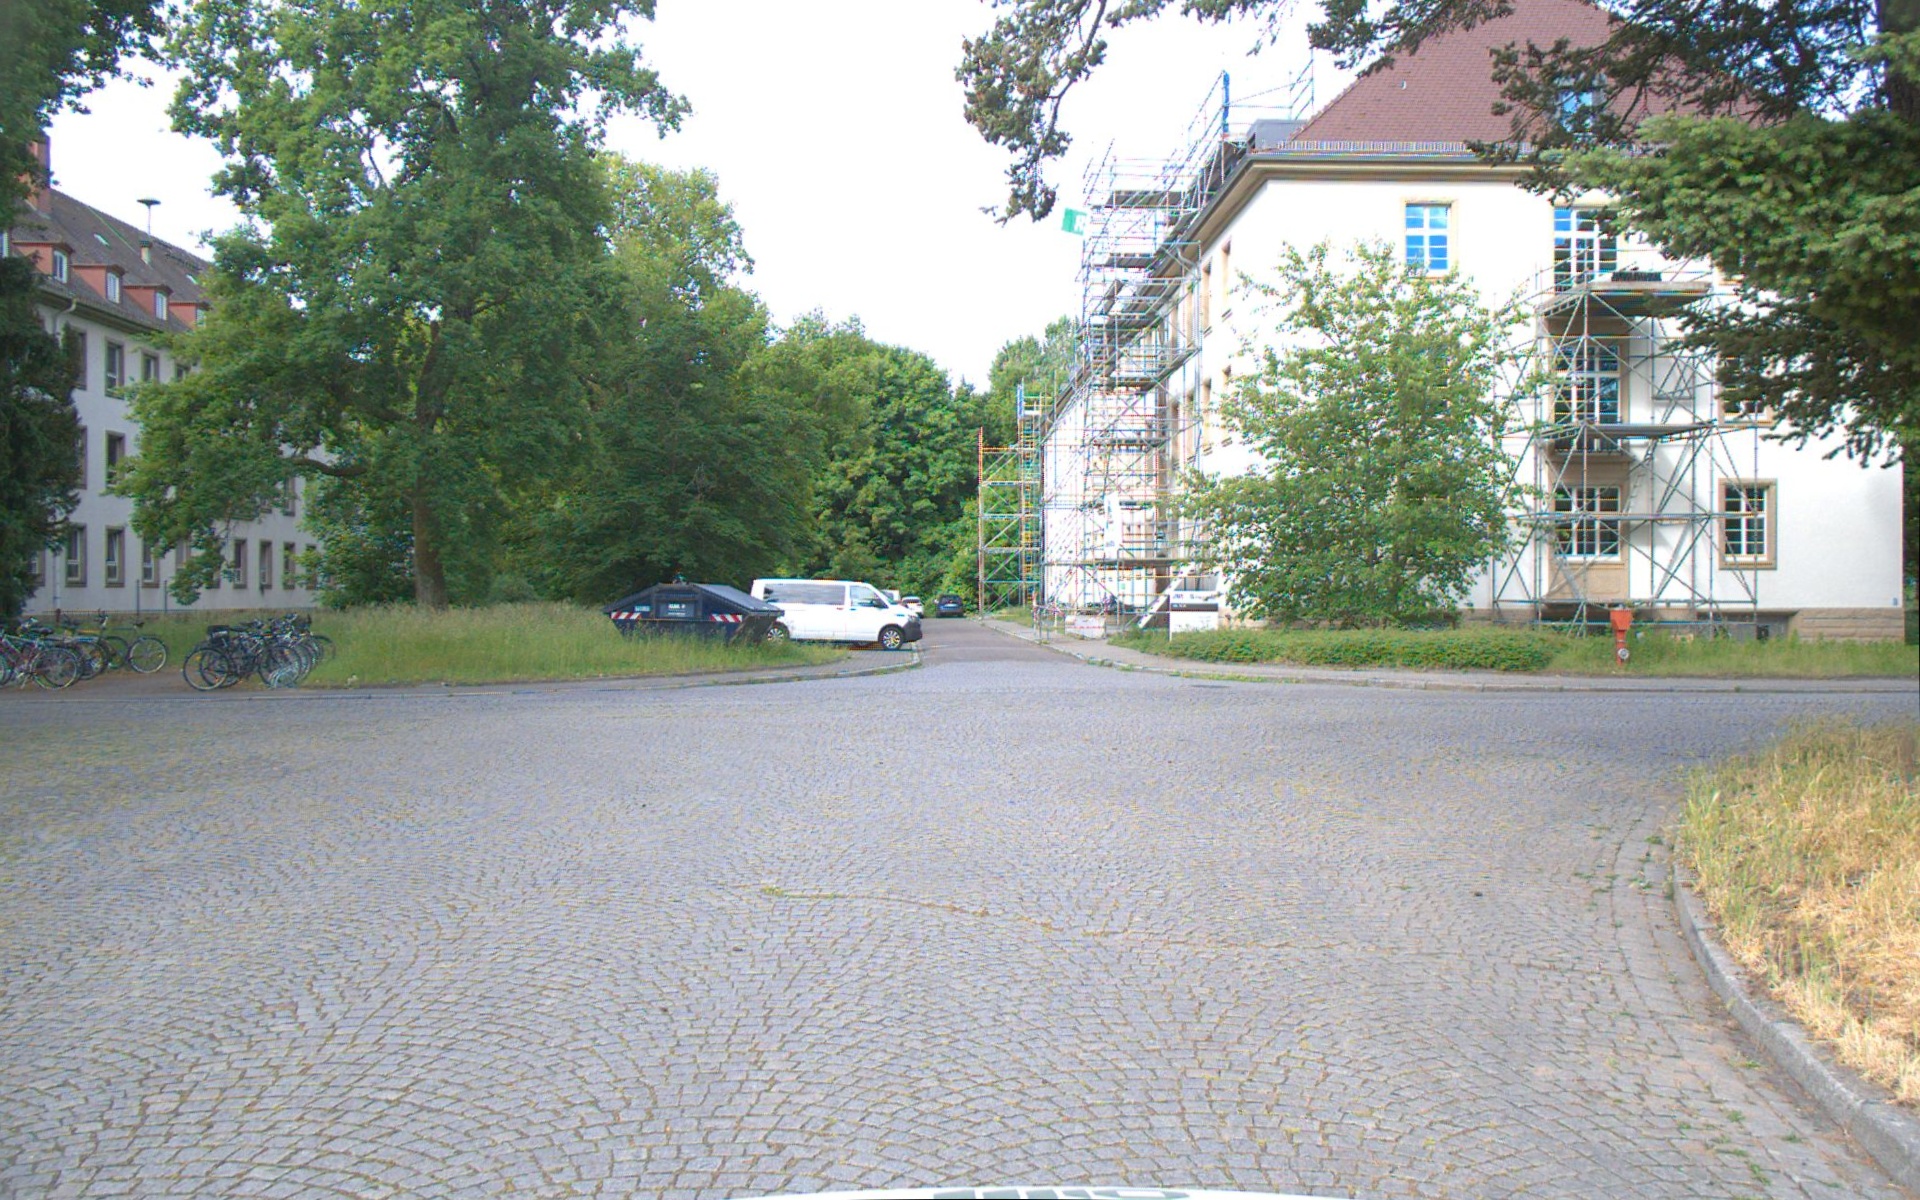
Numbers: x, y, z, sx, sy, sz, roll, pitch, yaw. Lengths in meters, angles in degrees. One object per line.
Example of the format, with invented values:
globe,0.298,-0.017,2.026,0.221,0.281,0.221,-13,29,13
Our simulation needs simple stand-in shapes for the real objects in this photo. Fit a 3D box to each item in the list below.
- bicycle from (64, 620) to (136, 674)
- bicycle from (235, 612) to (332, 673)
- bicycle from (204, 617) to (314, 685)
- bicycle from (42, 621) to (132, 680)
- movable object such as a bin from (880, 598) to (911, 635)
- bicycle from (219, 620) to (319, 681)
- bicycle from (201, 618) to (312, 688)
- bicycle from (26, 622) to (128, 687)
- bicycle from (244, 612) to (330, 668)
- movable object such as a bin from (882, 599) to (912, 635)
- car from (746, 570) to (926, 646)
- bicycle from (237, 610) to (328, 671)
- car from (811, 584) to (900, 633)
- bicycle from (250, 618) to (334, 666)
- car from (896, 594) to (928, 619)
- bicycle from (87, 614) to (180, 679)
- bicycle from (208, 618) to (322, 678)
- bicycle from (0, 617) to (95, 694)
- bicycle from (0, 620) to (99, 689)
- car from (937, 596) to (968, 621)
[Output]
bicycle,-17.513,0.952,33.688,1.241,1.047,0.431,-2,-2,-21
bicycle,-13.575,0.845,33.236,1.746,1.124,0.538,-2,2,-21
bicycle,-12.634,0.908,29.847,1.768,1.122,0.698,-2,2,-21
bicycle,-16.609,0.949,31.481,1.497,1.053,0.539,-1,2,-32
movable object such as a bin,-2.614,0.678,67.081,1.160,1.432,0.975,2,-1,-1
bicycle,-12.755,0.924,30.578,1.667,1.019,0.628,-2,2,-21
bicycle,-12.378,0.925,29.164,1.742,1.122,0.698,-2,2,-21
bicycle,-16.042,0.976,30.057,1.609,1.092,0.534,-1,2,-32
bicycle,-13.937,0.828,34.288,1.593,1.077,0.523,-2,2,-21
movable object such as a bin,-2.605,0.701,68.222,1.160,1.432,0.975,2,-1,-1
car,-3.581,0.235,48.446,5.097,2.096,2.187,1,-1,-3
bicycle,-13.811,0.818,33.735,1.672,1.135,0.538,-2,2,-21
car,-4.815,0.380,75.983,3.910,2.049,1.919,3,-1,-6
bicycle,-14.051,0.876,34.817,1.593,0.926,0.523,-2,2,-21
car,-3.370,0.461,114.448,1.962,1.575,3.954,2,-1,-5
bicycle,-16.201,0.901,32.431,1.620,1.206,0.569,0,2,-28
bicycle,-13.131,0.896,31.308,1.926,1.022,0.682,-2,2,-21
bicycle,-15.644,0.924,27.805,1.868,1.244,0.640,0,2,-21
bicycle,-15.932,0.928,28.397,1.957,1.133,0.640,0,2,-21
car,-0.507,0.580,114.812,2.021,1.621,4.000,2,-1,1
